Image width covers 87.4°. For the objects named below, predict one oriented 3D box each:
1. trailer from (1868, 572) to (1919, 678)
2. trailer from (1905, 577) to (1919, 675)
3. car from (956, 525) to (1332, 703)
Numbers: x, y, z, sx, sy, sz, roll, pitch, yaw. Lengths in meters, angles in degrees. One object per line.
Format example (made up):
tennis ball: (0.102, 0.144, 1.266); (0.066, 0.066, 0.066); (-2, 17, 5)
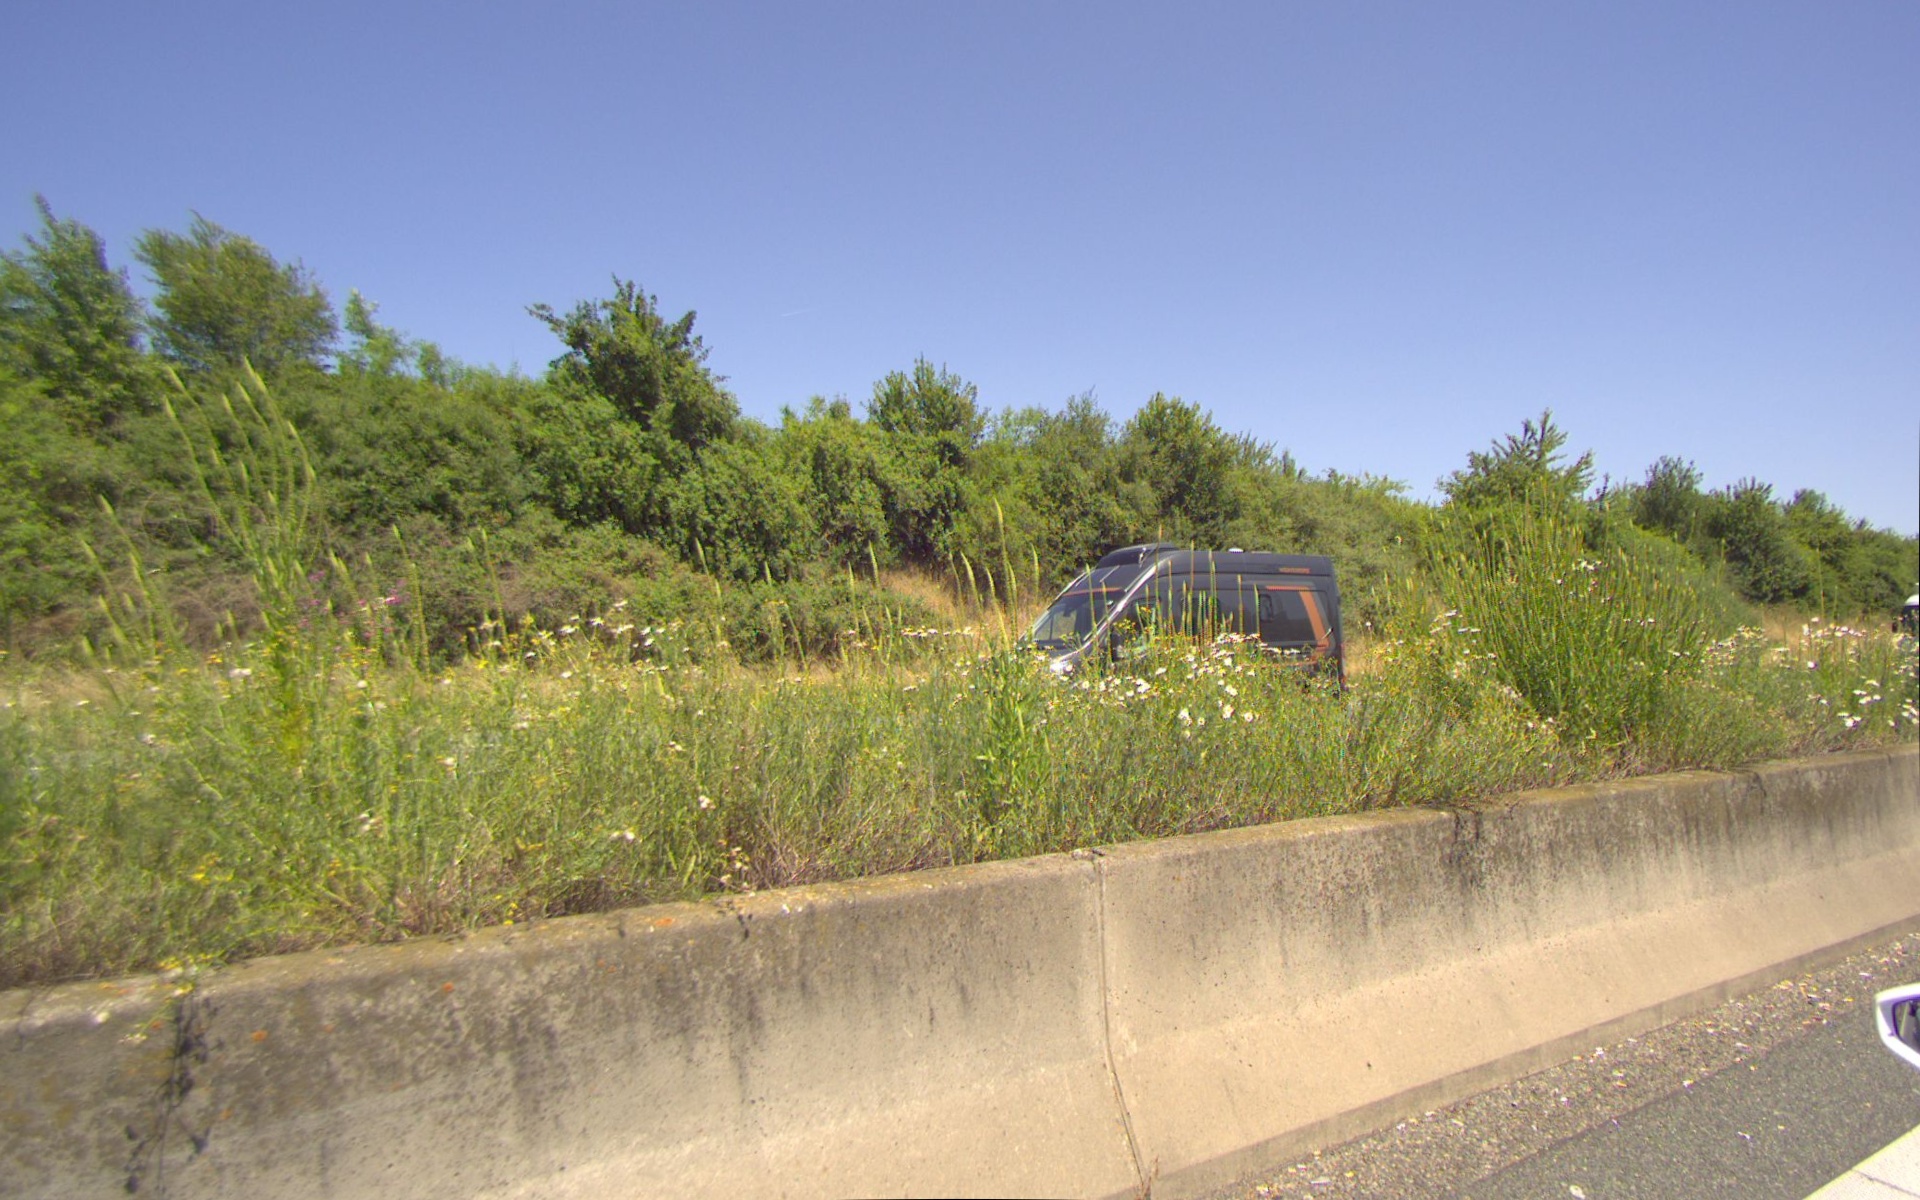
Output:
trailer: (39.422, 1.016, 40.239); (5.369, 4.110, 2.948); (1, -3, -30)
trailer: (46.248, 1.172, 44.238); (13.434, 4.110, 2.948); (1, -3, -30)
car: (2.671, 0.237, 14.106); (5.167, 2.119, 1.984); (1, -2, -30)
